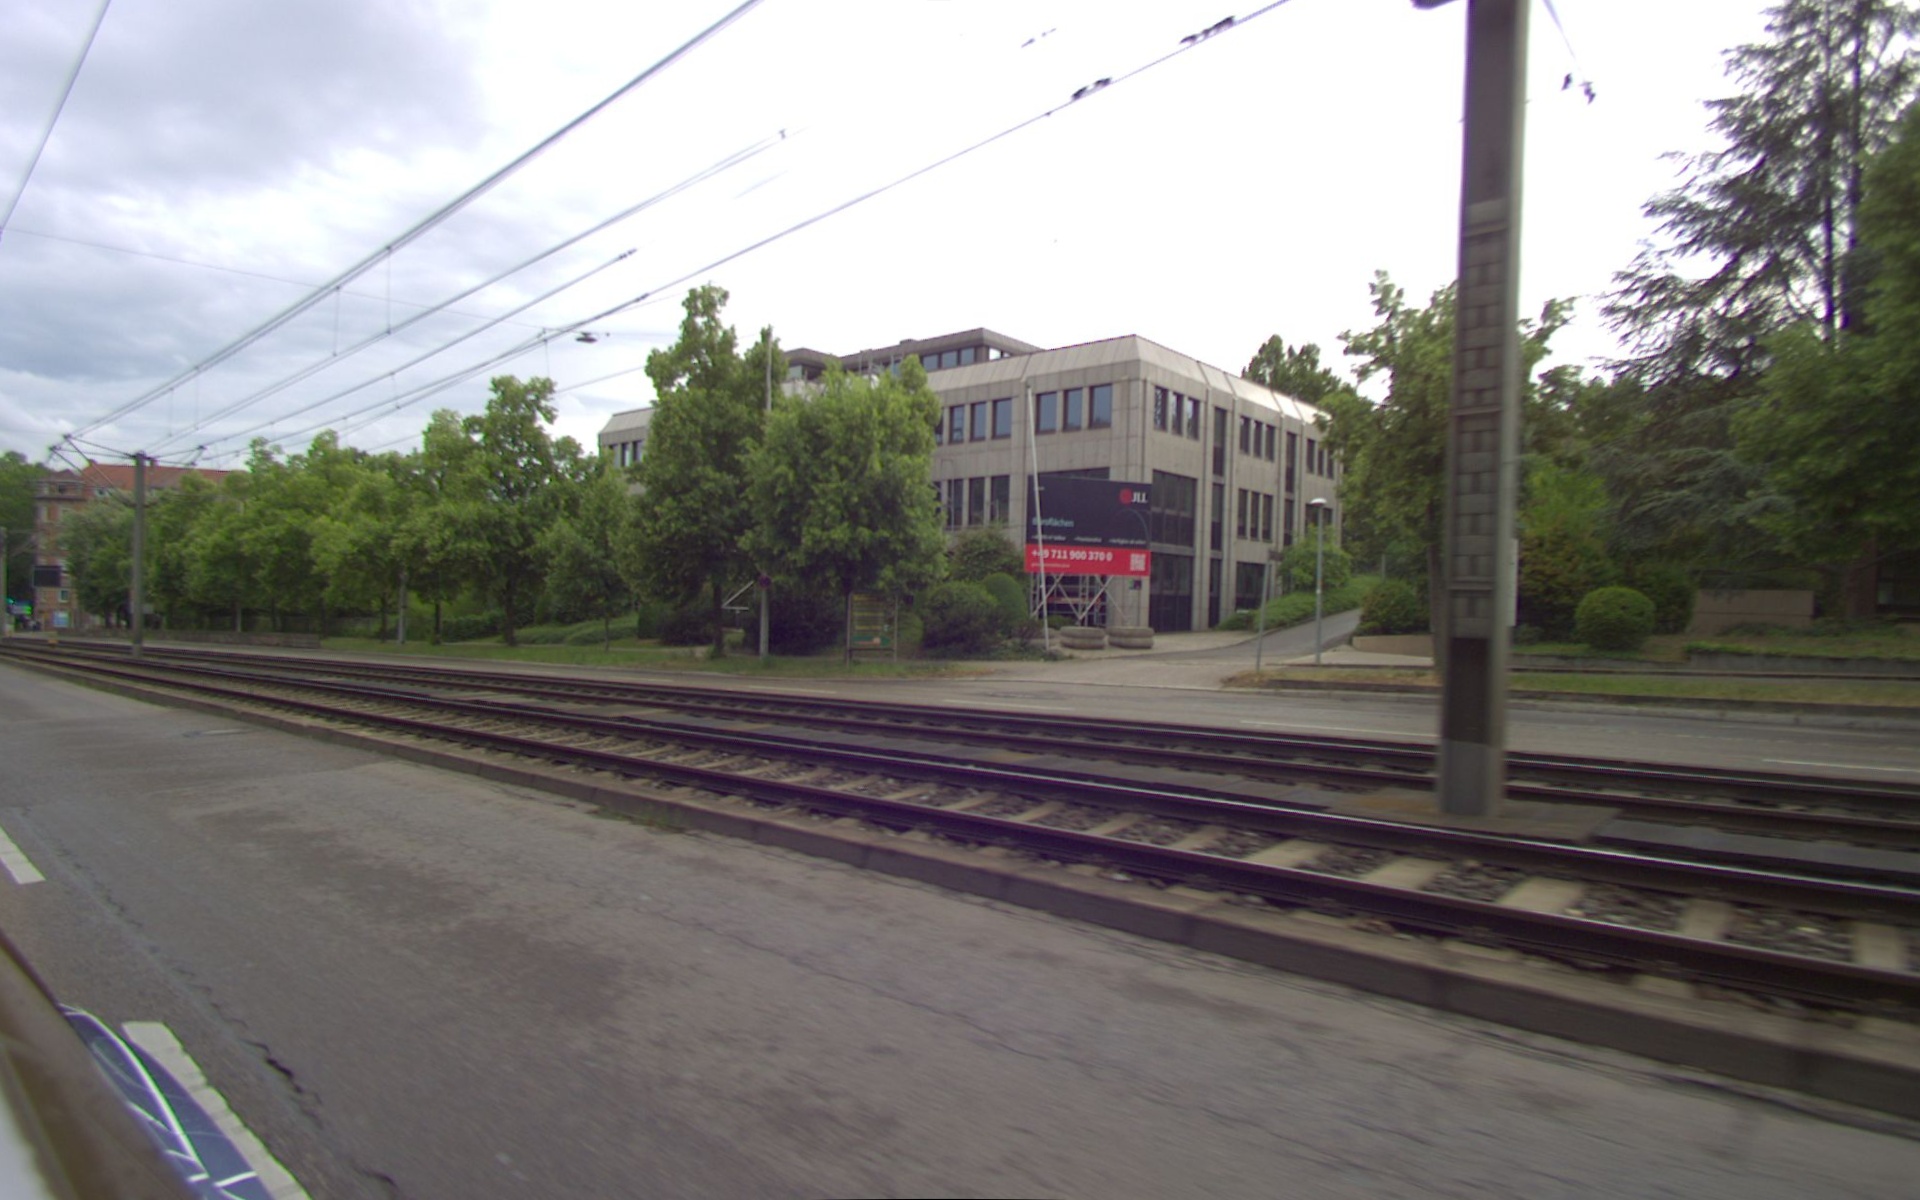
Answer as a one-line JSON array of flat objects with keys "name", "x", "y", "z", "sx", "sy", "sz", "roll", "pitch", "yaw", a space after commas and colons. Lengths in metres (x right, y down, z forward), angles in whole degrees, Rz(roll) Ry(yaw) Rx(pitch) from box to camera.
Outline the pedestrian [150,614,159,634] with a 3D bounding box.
[{"name": "pedestrian", "x": -81.620, "y": 2.433, "z": 102.539, "sx": 0.653, "sy": 1.917, "sz": 0.590, "roll": -1, "pitch": 0, "yaw": 38}]
